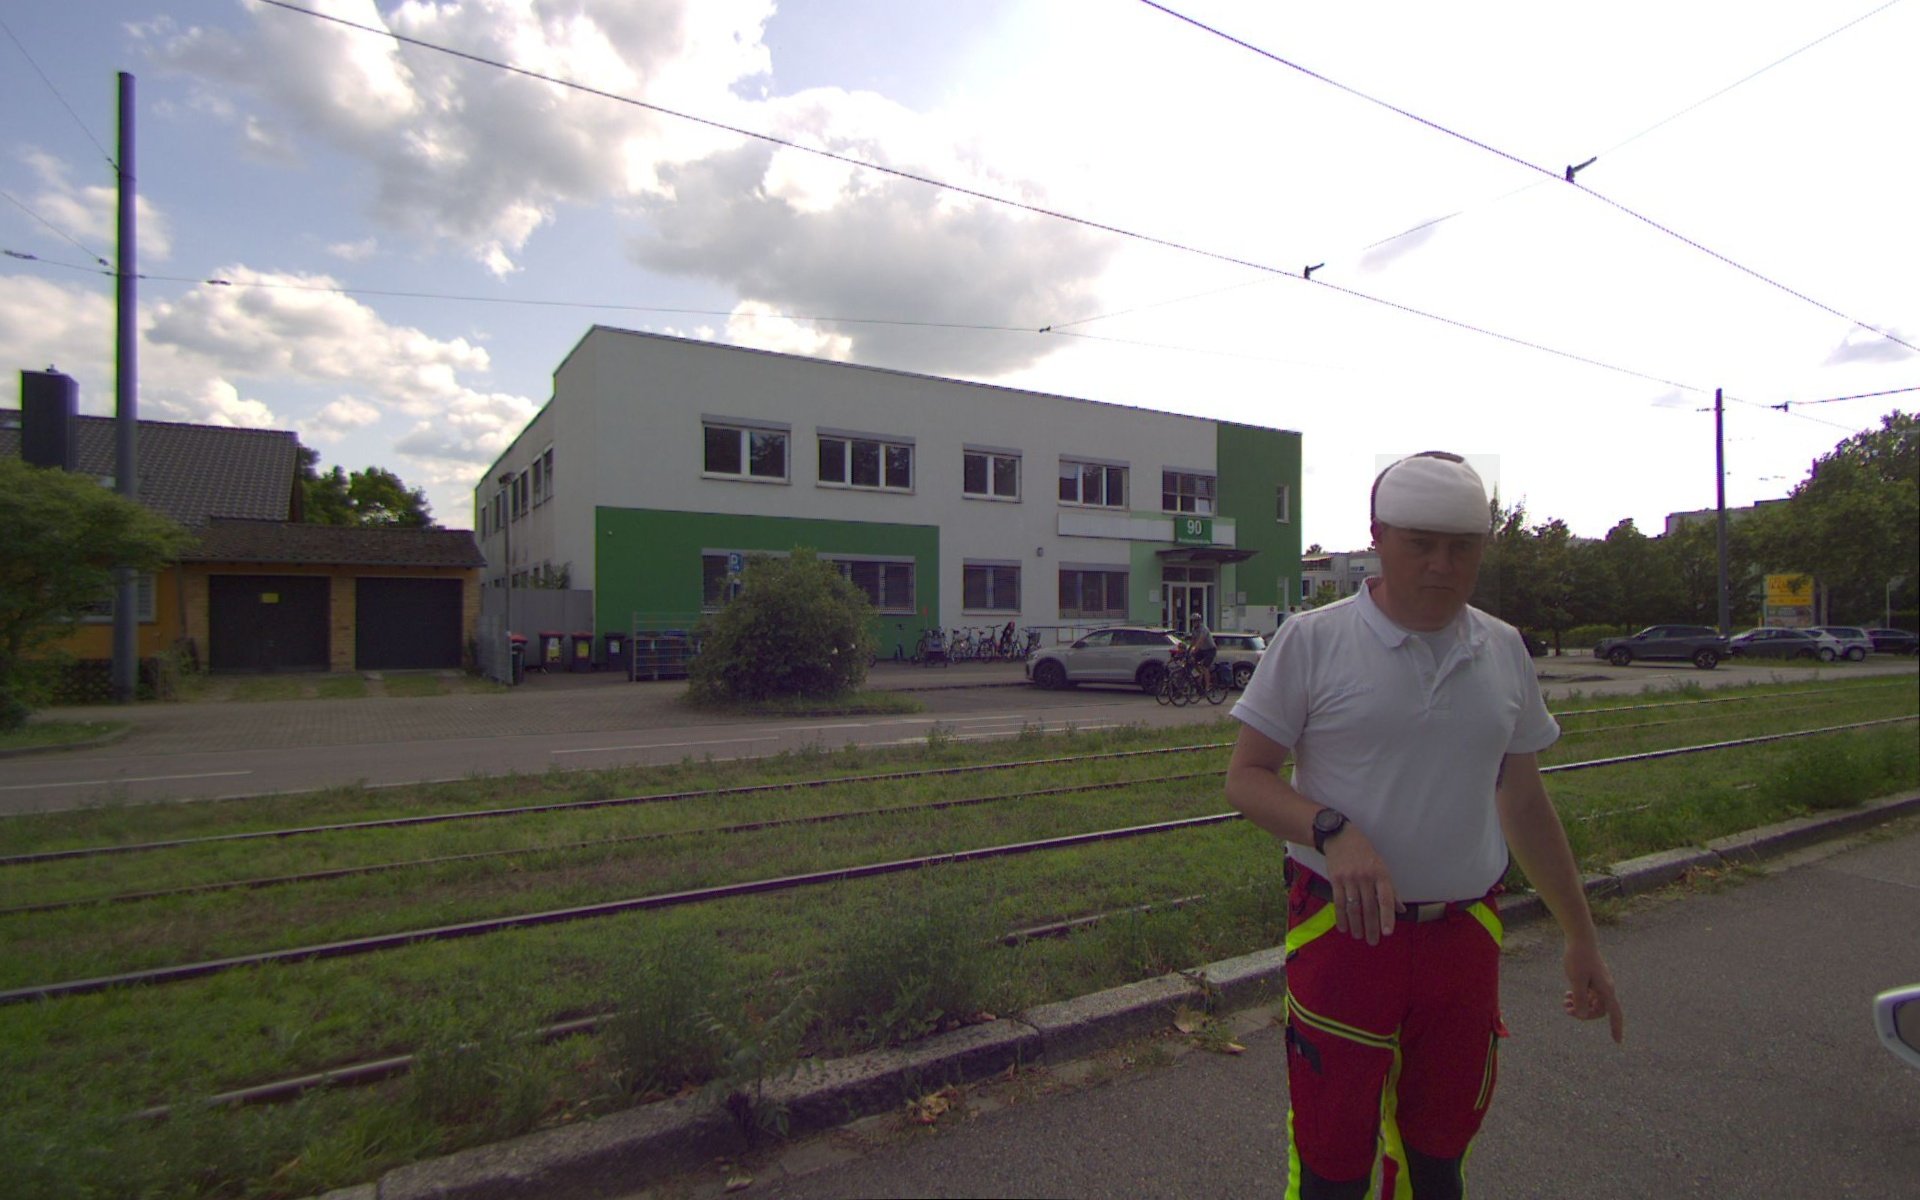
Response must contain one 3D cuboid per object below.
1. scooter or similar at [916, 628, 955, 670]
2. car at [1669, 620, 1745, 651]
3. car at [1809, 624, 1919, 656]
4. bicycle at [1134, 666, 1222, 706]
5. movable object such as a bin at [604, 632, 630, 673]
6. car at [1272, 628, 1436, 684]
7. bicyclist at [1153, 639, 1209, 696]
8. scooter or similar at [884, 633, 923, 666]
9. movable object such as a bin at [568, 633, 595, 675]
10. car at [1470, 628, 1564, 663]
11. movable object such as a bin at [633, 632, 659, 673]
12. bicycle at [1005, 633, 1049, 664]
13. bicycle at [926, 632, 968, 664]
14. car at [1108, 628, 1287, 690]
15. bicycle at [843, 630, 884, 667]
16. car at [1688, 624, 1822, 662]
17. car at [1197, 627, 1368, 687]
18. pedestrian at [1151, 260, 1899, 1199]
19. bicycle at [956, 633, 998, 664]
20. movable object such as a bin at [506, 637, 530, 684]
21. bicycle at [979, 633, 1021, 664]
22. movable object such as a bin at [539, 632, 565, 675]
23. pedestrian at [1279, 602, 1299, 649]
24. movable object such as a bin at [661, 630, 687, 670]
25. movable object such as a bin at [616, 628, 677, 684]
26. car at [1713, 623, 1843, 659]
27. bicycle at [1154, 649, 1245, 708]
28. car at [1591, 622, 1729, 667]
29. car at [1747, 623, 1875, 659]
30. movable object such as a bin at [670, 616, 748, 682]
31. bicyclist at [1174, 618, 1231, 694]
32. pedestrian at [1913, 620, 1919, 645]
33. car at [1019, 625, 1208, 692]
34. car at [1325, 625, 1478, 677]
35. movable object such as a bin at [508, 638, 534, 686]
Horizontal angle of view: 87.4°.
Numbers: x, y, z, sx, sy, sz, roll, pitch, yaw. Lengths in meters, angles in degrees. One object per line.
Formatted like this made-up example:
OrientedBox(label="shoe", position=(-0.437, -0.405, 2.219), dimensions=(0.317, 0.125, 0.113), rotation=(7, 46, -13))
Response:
OrientedBox(label="scooter or similar", position=(-0.730, 1.429, 29.652), dimensions=(1.073, 1.171, 1.306), rotation=(2, 0, -2))
OrientedBox(label="car", position=(48.538, 2.276, 65.363), dimensions=(1.960, 1.773, 4.000), rotation=(1, 0, 0))
OrientedBox(label="car", position=(46.200, 2.024, 51.093), dimensions=(4.151, 1.501, 1.883), rotation=(1, -1, 19))
OrientedBox(label="bicycle", position=(4.487, 1.759, 20.663), dimensions=(1.781, 0.727, 0.643), rotation=(1, -1, -27))
OrientedBox(label="movable object such as a bin", position=(-9.190, 1.408, 26.885), dimensions=(0.558, 1.056, 0.565), rotation=(0, 1, -31))
OrientedBox(label="car", position=(11.327, 1.557, 28.909), dimensions=(4.160, 1.501, 1.880), rotation=(-1, -2, 30))
OrientedBox(label="bicyclist", position=(4.551, 1.369, 20.697), dimensions=(0.916, 1.127, 0.637), rotation=(1, -1, -26))
OrientedBox(label="scooter or similar", position=(-1.760, 1.523, 31.028), dimensions=(0.453, 0.911, 1.726), rotation=(2, 0, -30))
OrientedBox(label="movable object such as a bin", position=(-9.945, 1.400, 26.388), dimensions=(0.558, 1.056, 0.565), rotation=(0, 1, -31))
OrientedBox(label="car", position=(29.213, 2.366, 52.771), dimensions=(1.755, 1.586, 3.970), rotation=(2, 0, -28))
OrientedBox(label="movable object such as a bin", position=(-8.531, 1.411, 27.259), dimensions=(0.558, 1.056, 0.565), rotation=(0, 1, -31))
OrientedBox(label="bicycle", position=(2.204, 1.590, 33.314), dimensions=(0.453, 0.911, 1.848), rotation=(2, 0, -30))
OrientedBox(label="bicycle", position=(-0.414, 1.511, 31.717), dimensions=(0.453, 0.911, 1.848), rotation=(2, 0, -30))
OrientedBox(label="car", position=(6.119, 1.475, 25.949), dimensions=(4.160, 1.501, 1.880), rotation=(-1, -2, 30))
OrientedBox(label="bicycle", position=(-2.894, 1.428, 30.050), dimensions=(0.453, 0.999, 1.848), rotation=(2, 0, -30))
OrientedBox(label="car", position=(34.400, 1.822, 43.602), dimensions=(4.154, 1.501, 1.882), rotation=(1, -1, 23))
OrientedBox(label="car", position=(8.757, 1.507, 27.341), dimensions=(4.160, 1.501, 1.880), rotation=(-1, -2, 30))
OrientedBox(label="pedestrian", position=(0.799, 0.428, 1.701), dimensions=(0.790, 1.709, 0.851), rotation=(1, 0, 1))
OrientedBox(label="bicycle", position=(0.533, 1.542, 32.339), dimensions=(0.453, 0.911, 1.848), rotation=(2, 0, -30))
OrientedBox(label="movable object such as a bin", position=(-10.395, 1.413, 23.623), dimensions=(0.474, 1.056, 0.491), rotation=(0, 1, -31))
OrientedBox(label="bicycle", position=(1.293, 1.568, 32.802), dimensions=(0.453, 0.911, 1.848), rotation=(2, 0, -30))
OrientedBox(label="movable object such as a bin", position=(-10.553, 1.371, 25.986), dimensions=(0.558, 1.056, 0.565), rotation=(0, 1, -31))
OrientedBox(label="pedestrian", position=(13.178, 1.027, 40.229), dimensions=(0.503, 1.852, 0.543), rotation=(1, -1, -33))
OrientedBox(label="movable object such as a bin", position=(-7.869, 1.371, 27.650), dimensions=(0.558, 1.056, 0.565), rotation=(0, 1, -31))
OrientedBox(label="movable object such as a bin", position=(-7.535, 1.314, 24.141), dimensions=(1.241, 1.251, 1.001), rotation=(0, 1, -29))
OrientedBox(label="car", position=(36.737, 1.815, 45.227), dimensions=(4.154, 1.501, 1.882), rotation=(1, -1, 23))
OrientedBox(label="bicycle", position=(4.782, 1.541, 20.028), dimensions=(1.781, 1.094, 0.643), rotation=(1, -1, -27))
OrientedBox(label="car", position=(26.215, 1.627, 37.756), dimensions=(4.164, 1.501, 1.878), rotation=(1, -1, 34))
OrientedBox(label="car", position=(39.411, 1.865, 46.640), dimensions=(4.154, 1.501, 1.882), rotation=(1, -1, 23))
OrientedBox(label="movable object such as a bin", position=(-6.221, 1.183, 24.902), dimensions=(1.691, 1.540, 1.001), rotation=(0, 1, -29))
OrientedBox(label="bicyclist", position=(4.845, 1.107, 20.061), dimensions=(0.916, 1.477, 0.621), rotation=(1, -1, -27))
OrientedBox(label="pedestrian", position=(65.278, 2.190, 68.389), dimensions=(0.597, 1.699, 0.463), rotation=(1, -1, -33))
OrientedBox(label="car", position=(3.704, 1.372, 24.278), dimensions=(4.155, 1.501, 1.882), rotation=(-1, -2, 25))
OrientedBox(label="car", position=(13.579, 1.537, 30.945), dimensions=(4.160, 1.501, 1.880), rotation=(-1, -2, 30))
OrientedBox(label="movable object such as a bin", position=(-10.116, 1.419, 23.142), dimensions=(0.476, 1.056, 0.502), rotation=(0, 1, -31))
